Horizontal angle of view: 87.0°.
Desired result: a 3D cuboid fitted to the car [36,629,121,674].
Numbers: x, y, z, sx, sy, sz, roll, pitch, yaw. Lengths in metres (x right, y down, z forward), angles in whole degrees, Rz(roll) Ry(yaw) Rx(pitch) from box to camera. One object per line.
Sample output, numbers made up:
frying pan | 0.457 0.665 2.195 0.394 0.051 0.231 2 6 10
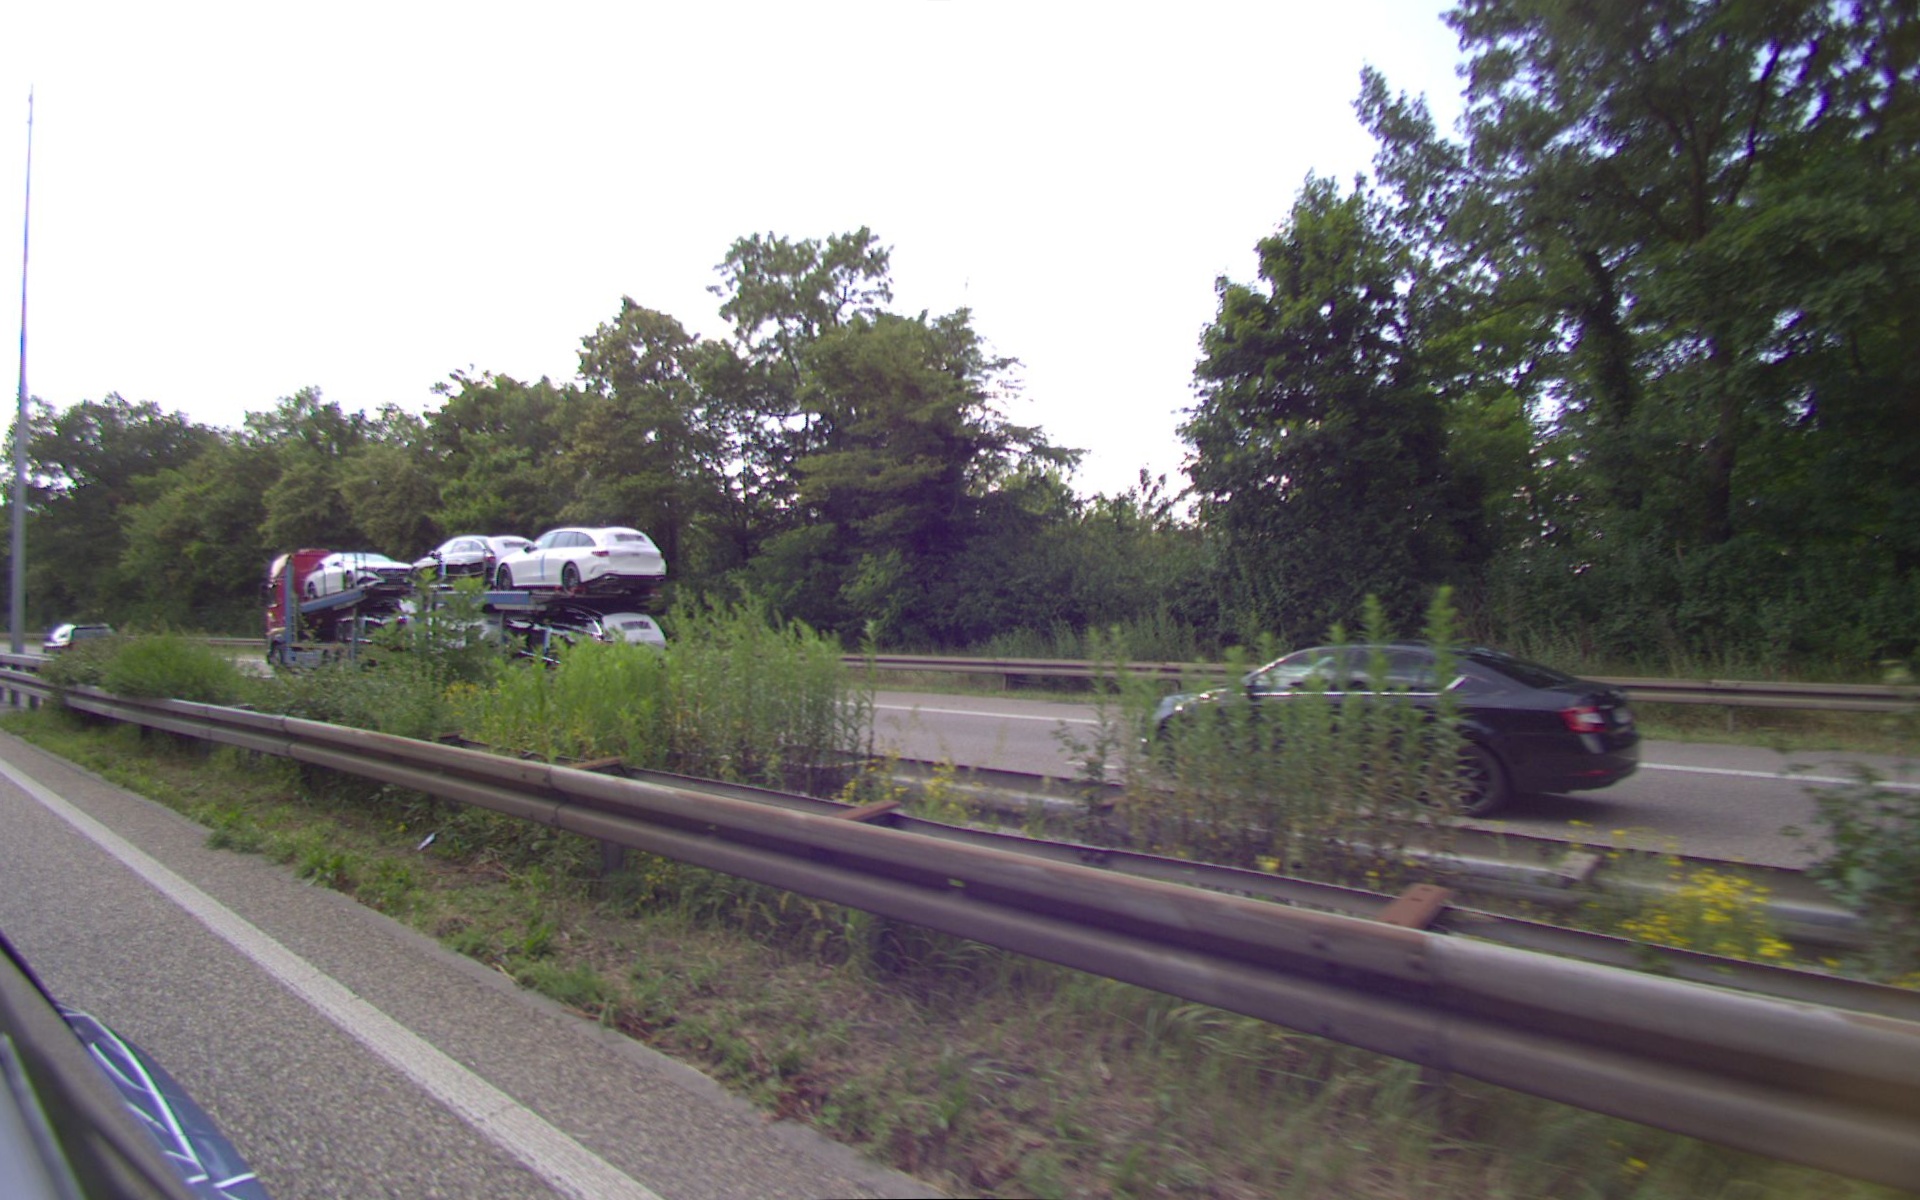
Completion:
car | -32.571 1.848 37.345 4.259 1.563 1.657 -1 -2 39

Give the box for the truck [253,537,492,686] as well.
truck | -18.226 0.419 30.941 10.314 3.885 2.925 -1 -2 40

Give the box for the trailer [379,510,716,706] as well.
trailer | -10.275 0.270 24.348 10.299 3.862 2.909 -1 -2 39
